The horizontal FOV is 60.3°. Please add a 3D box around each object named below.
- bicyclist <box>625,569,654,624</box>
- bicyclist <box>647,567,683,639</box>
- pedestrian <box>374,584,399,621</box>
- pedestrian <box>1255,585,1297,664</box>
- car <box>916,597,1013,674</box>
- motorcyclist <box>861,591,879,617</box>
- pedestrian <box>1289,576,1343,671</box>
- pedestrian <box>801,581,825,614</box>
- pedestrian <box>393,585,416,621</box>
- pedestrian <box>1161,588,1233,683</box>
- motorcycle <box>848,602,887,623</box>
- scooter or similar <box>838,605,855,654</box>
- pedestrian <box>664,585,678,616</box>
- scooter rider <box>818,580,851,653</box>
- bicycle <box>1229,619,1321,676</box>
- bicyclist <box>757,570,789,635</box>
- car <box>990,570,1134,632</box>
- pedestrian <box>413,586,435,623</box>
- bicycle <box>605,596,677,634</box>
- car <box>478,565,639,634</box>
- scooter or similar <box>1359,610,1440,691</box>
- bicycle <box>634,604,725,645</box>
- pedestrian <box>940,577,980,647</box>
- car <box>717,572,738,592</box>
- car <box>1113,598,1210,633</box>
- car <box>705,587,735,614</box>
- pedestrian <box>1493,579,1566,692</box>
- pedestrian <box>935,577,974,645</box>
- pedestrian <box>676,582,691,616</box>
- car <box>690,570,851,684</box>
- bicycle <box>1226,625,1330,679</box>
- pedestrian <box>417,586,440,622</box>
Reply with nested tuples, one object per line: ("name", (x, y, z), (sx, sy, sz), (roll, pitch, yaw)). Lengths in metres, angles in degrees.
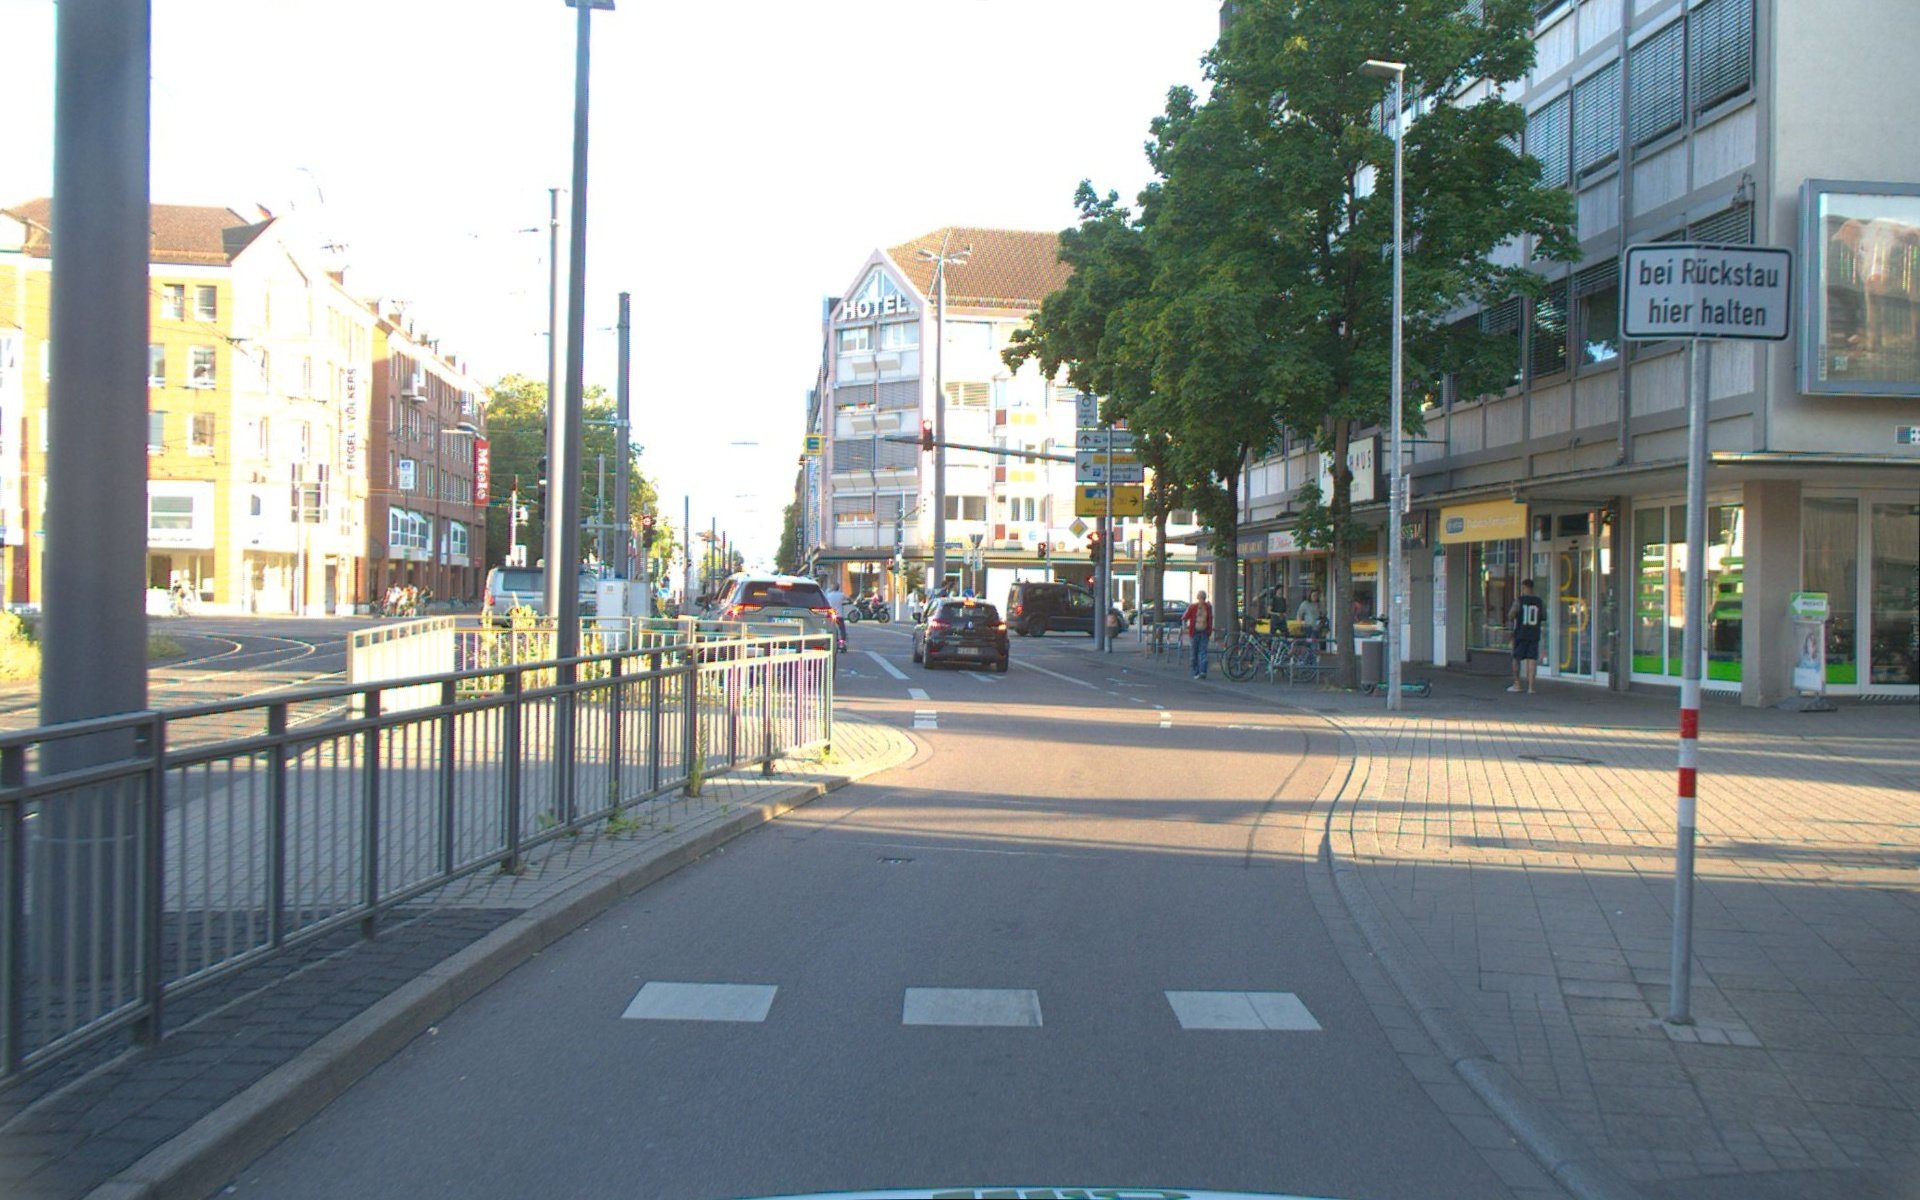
("bicyclist", (-9.212, -0.103, 47.584), (0.694, 1.538, 0.546), (-1, 0, -24))
("bicyclist", (-8.675, 0.088, 48.618), (0.850, 2.049, 0.641), (2, -1, -26))
("pedestrian", (-32.378, 0.152, 93.410), (1.073, 2.049, 0.907), (2, -1, -9))
("pedestrian", (7.484, 0.576, 39.207), (0.732, 1.809, 0.799), (2, -1, -5))
("car", (0.036, 0.691, 34.240), (1.729, 1.465, 3.997), (1, 0, -4))
("motorcyclist", (-4.333, 0.181, 79.813), (0.691, 1.242, 0.786), (2, -1, -13))
("pedestrian", (7.009, 0.458, 32.593), (0.732, 1.809, 0.972), (2, -1, -5))
("pedestrian", (-8.028, -0.136, 90.266), (0.837, 1.756, 0.929), (2, -1, 42))
("pedestrian", (-31.950, 0.186, 95.147), (1.073, 2.049, 0.907), (2, -1, -9))
("pedestrian", (4.397, 0.656, 30.676), (0.814, 1.714, 1.038), (2, -1, -29))
("motorcycle", (-4.470, 0.615, 79.799), (1.801, 0.924, 0.431), (2, -1, -11))
("scooter or similar", (-2.669, 0.690, 38.916), (0.274, 1.110, 1.257), (2, 0, 0))
("pedestrian", (-16.362, 0.022, 93.679), (0.687, 1.693, 0.807), (2, -1, -5))
("scooter rider", (-2.948, 0.376, 38.898), (0.648, 1.676, 0.661), (2, -1, 2))
("bicycle", (5.893, 0.890, 30.985), (1.623, 0.991, 0.386), (2, -1, 0))
("bicyclist", (-5.606, 0.075, 49.558), (0.845, 1.911, 0.644), (2, -1, -13))
("car", (3.459, 0.041, 56.311), (4.491, 2.072, 1.989), (0, 0, -19))
("pedestrian", (-30.516, 0.238, 94.208), (0.958, 2.049, 0.907), (2, -1, -9))
("bicycle", (-9.181, 0.435, 47.659), (2.000, 1.046, 0.416), (1, 0, -12))
("car", (-12.409, -0.013, 51.095), (4.617, 2.049, 1.987), (0, 0, -22))
("scooter or similar", (6.805, 0.777, 25.621), (1.198, 1.239, 0.293), (-1, -2, 40))
("bicycle", (-8.268, 0.715, 48.760), (2.608, 1.119, 0.432), (2, -1, -27))
("pedestrian", (-0.013, 0.338, 45.419), (0.975, 1.862, 0.728), (2, -1, -6))
("car", (-25.148, -1.934, 178.874), (1.955, 1.934, 3.995), (2, 0, -6))
("car", (10.156, 0.780, 83.499), (4.469, 1.649, 1.993), (2, 0, -10))
("car", (-16.395, 0.046, 113.205), (1.776, 1.777, 3.711), (2, 0, -5))
("pedestrian", (8.931, 0.547, 25.958), (0.732, 1.713, 0.893), (2, -1, -5))
("pedestrian", (-0.159, 0.313, 46.213), (0.975, 1.862, 0.728), (2, -1, -6))
("pedestrian", (-15.535, -0.053, 92.995), (0.687, 1.855, 0.807), (2, -1, -5))
("car", (-3.122, 0.383, 26.541), (1.806, 1.665, 4.070), (1, 0, -18))
("bicycle", (5.762, 0.937, 30.012), (1.780, 0.907, 0.415), (2, -1, 0))
("pedestrian", (-31.713, 0.232, 98.672), (1.073, 2.049, 1.161), (2, -1, -9))
